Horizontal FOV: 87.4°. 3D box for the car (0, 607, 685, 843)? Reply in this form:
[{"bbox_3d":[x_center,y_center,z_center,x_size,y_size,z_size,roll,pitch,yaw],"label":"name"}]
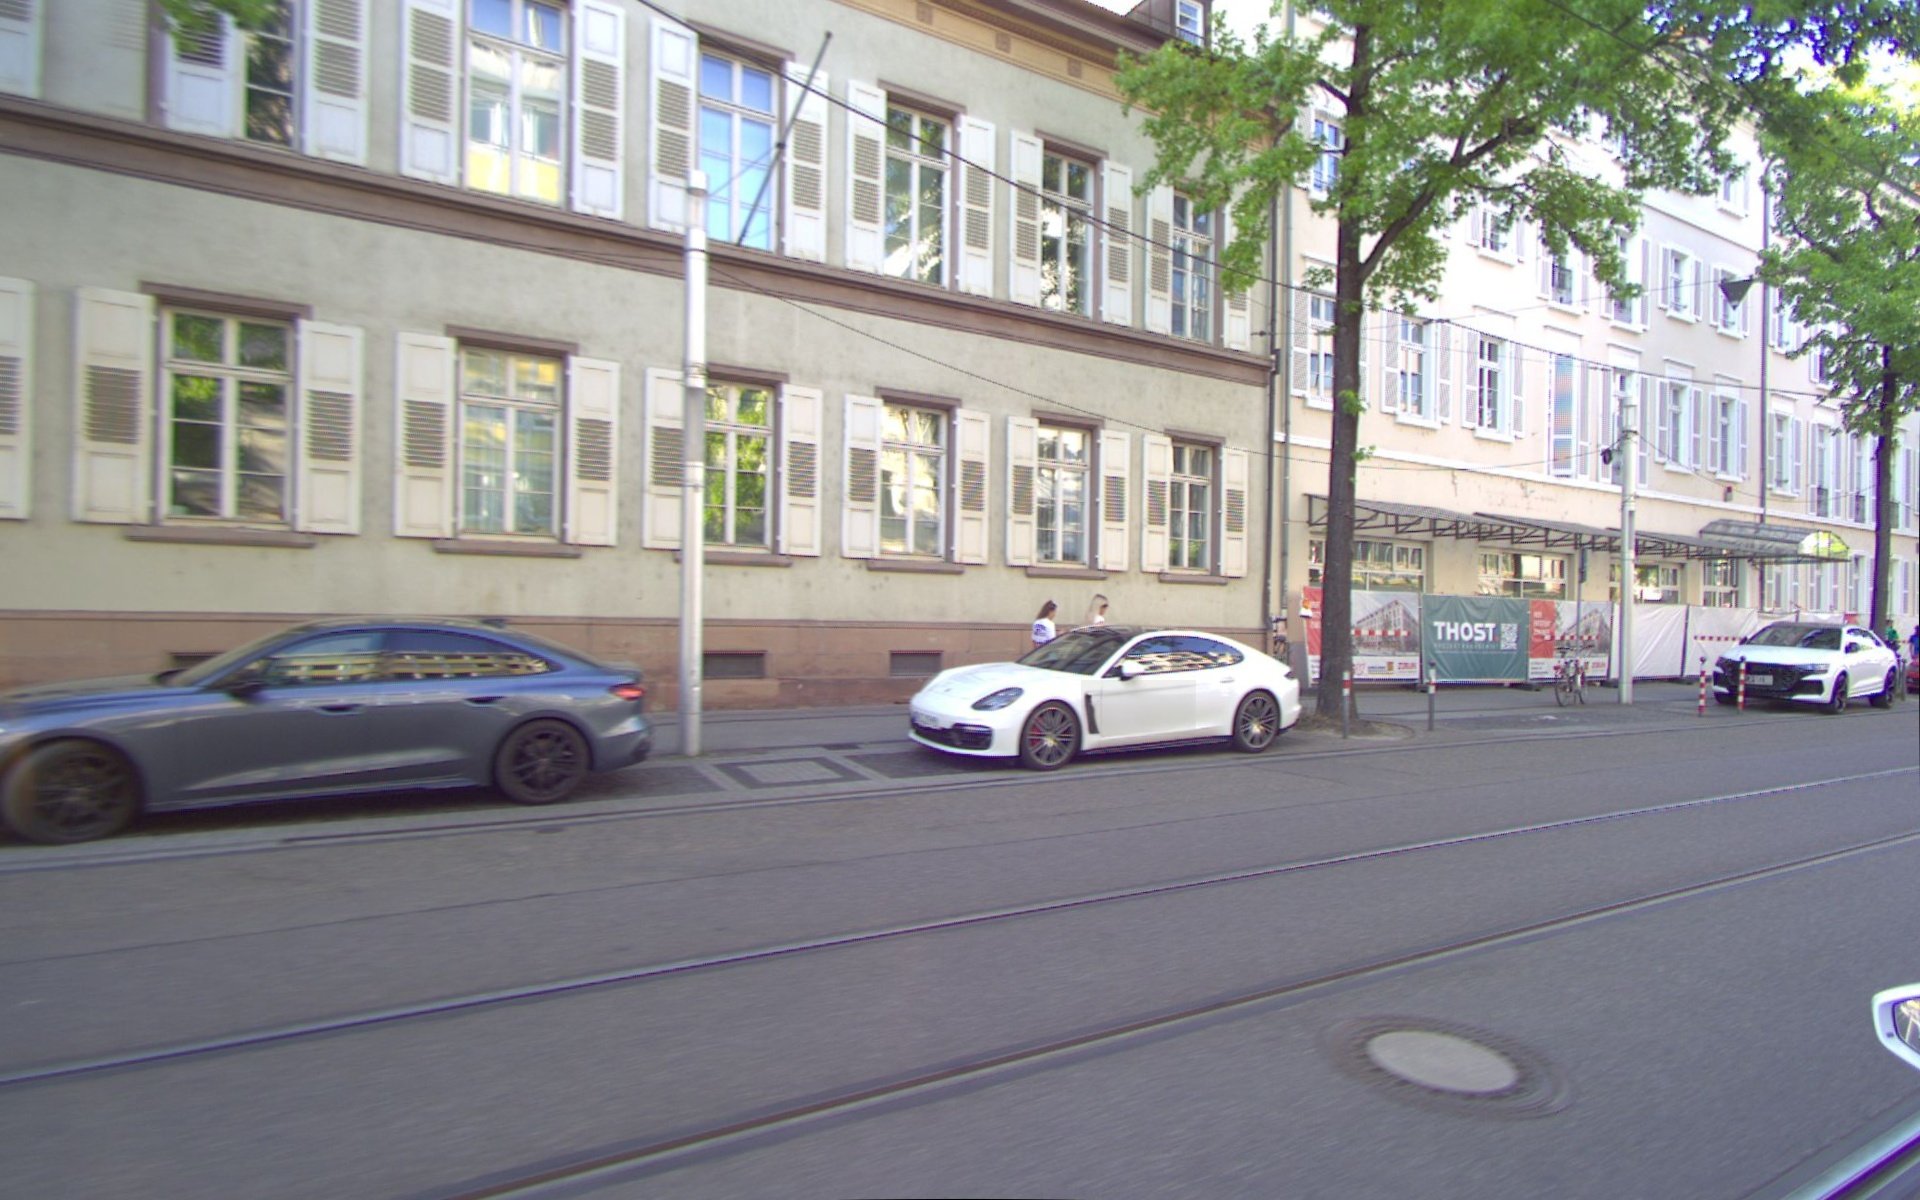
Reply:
[{"bbox_3d":[-4.876,0.833,8.046,4.794,1.431,1.950,2,-1,-33],"label":"car"}]

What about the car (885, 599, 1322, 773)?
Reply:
[{"bbox_3d":[1.742,0.899,11.719,4.849,1.662,1.938,2,0,-29],"label":"car"}]

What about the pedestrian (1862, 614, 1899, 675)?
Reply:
[{"bbox_3d":[27.906,1.334,30.441,0.669,1.830,0.703,1,-1,-35],"label":"pedestrian"}]

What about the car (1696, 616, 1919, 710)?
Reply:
[{"bbox_3d":[17.492,1.241,20.624,4.952,1.714,1.953,2,-1,-29],"label":"car"}]

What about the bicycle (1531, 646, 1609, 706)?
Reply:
[{"bbox_3d":[11.538,1.408,18.982,1.990,1.064,0.589,2,-1,-38],"label":"bicycle"}]

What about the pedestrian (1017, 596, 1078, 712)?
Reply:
[{"bbox_3d":[1.325,0.802,15.187,0.640,1.702,0.671,1,-1,-30],"label":"pedestrian"}]

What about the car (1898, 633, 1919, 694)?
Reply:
[{"bbox_3d":[26.048,1.659,25.797,4.183,1.519,1.681,2,-1,-29],"label":"car"}]

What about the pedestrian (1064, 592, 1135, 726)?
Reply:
[{"bbox_3d":[1.864,0.775,13.486,0.648,1.743,0.683,1,-1,-30],"label":"pedestrian"}]

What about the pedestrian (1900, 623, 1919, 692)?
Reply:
[{"bbox_3d":[28.333,1.692,29.661,0.668,2.031,0.703,1,-1,-33],"label":"pedestrian"}]
